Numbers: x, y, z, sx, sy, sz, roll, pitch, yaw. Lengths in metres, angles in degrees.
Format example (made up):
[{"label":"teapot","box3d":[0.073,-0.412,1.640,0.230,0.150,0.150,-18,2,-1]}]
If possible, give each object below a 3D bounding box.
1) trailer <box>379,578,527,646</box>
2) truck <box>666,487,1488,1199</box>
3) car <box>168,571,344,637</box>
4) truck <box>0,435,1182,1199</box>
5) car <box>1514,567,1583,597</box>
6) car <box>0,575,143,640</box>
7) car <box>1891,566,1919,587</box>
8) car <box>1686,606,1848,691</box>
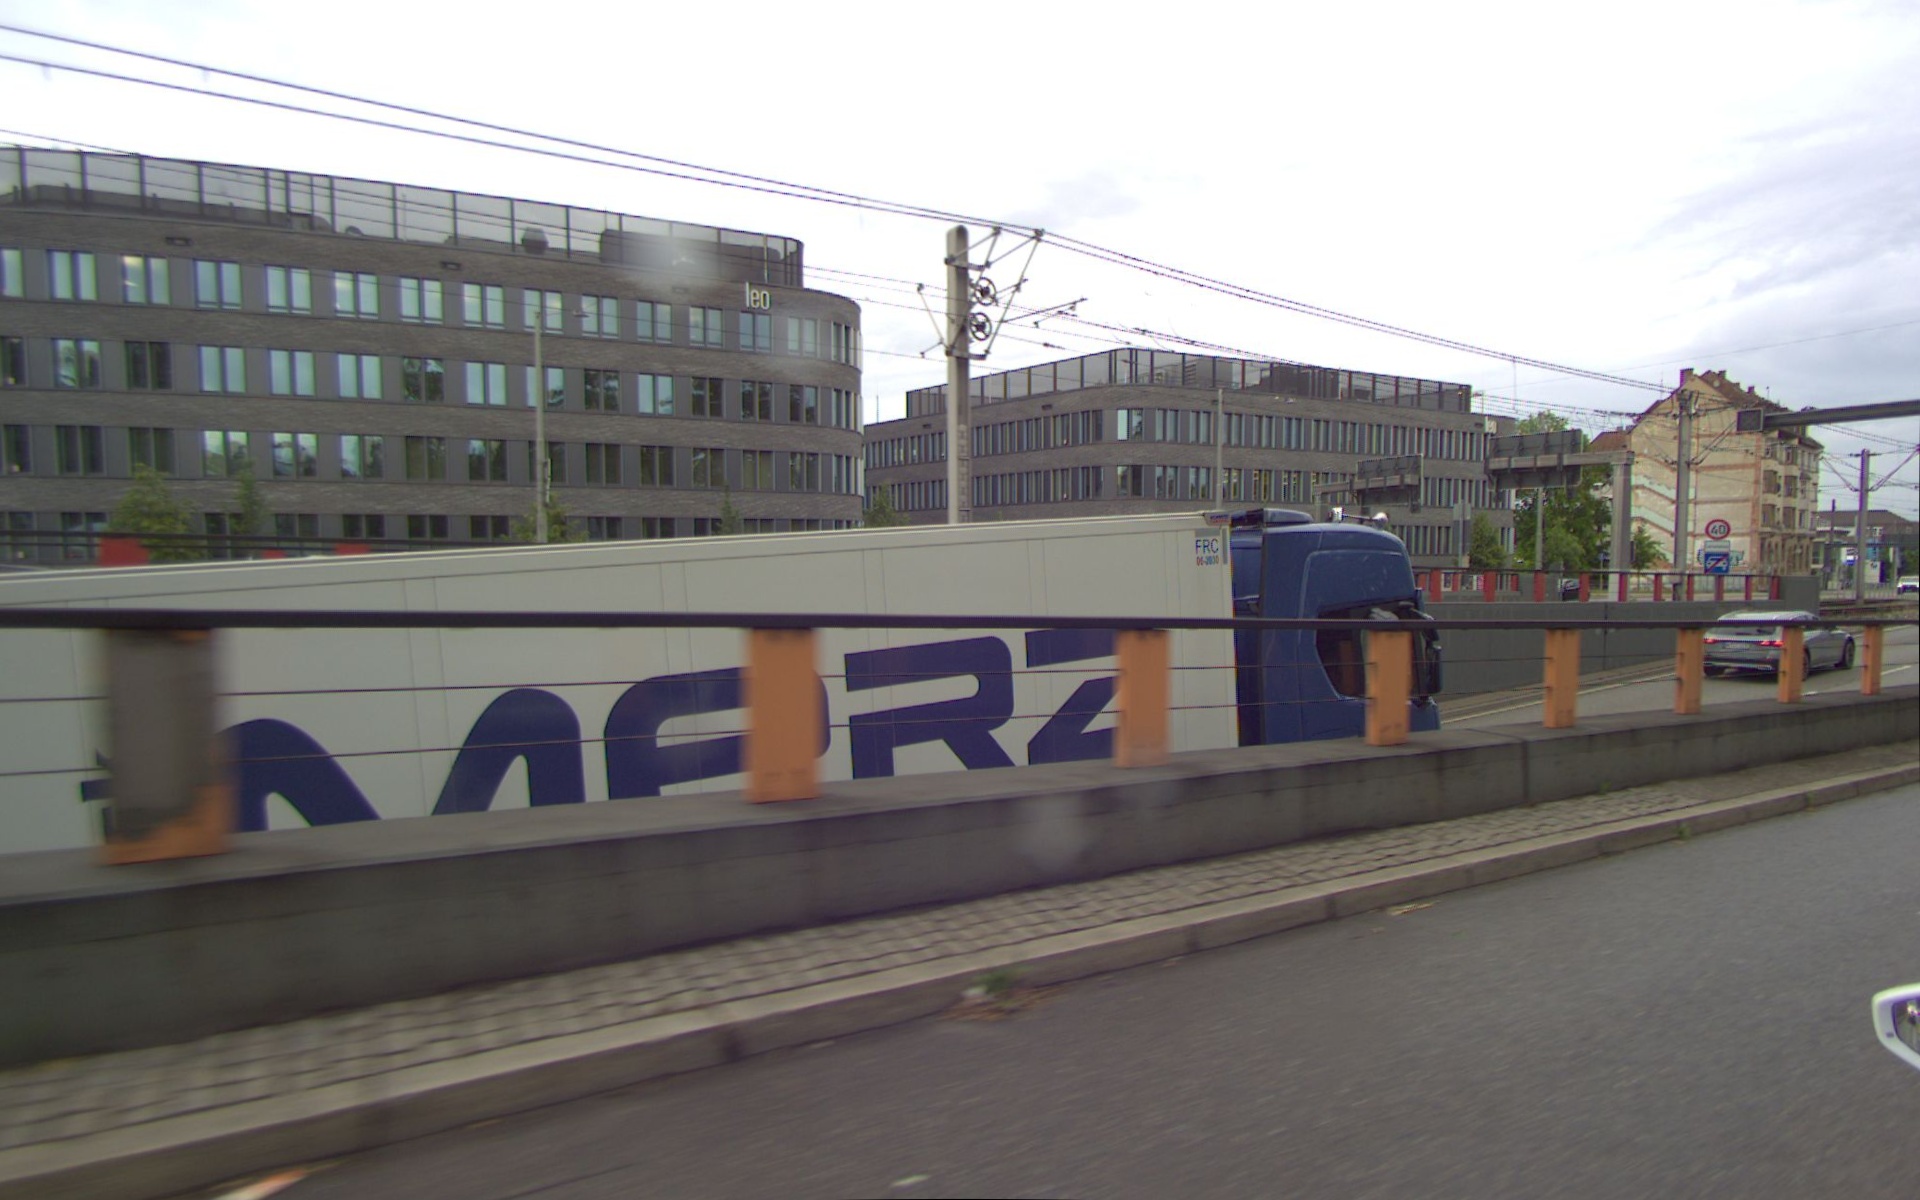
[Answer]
[{"label":"trailer","box3d":[-16.745,0.394,33.213,4.227,2.102,1.815,1,2,-32]},{"label":"truck","box3d":[1.267,1.422,8.539,6.709,4.254,2.747,-1,2,-32]},{"label":"car","box3d":[-21.360,0.140,30.703,4.228,1.772,1.815,3,1,-32]},{"label":"truck","box3d":[-4.623,1.484,4.894,12.881,4.254,2.748,-1,2,-32]},{"label":"car","box3d":[34.783,-1.082,59.367,3.784,1.606,1.817,-2,3,-29]},{"label":"car","box3d":[-25.434,0.194,28.003,3.786,1.606,1.817,3,1,-30]},{"label":"car","box3d":[102.607,-2.536,108.682,5.067,2.146,1.977,0,3,-40]},{"label":"car","box3d":[19.167,1.067,23.829,4.047,1.587,1.810,-5,2,-33]}]
